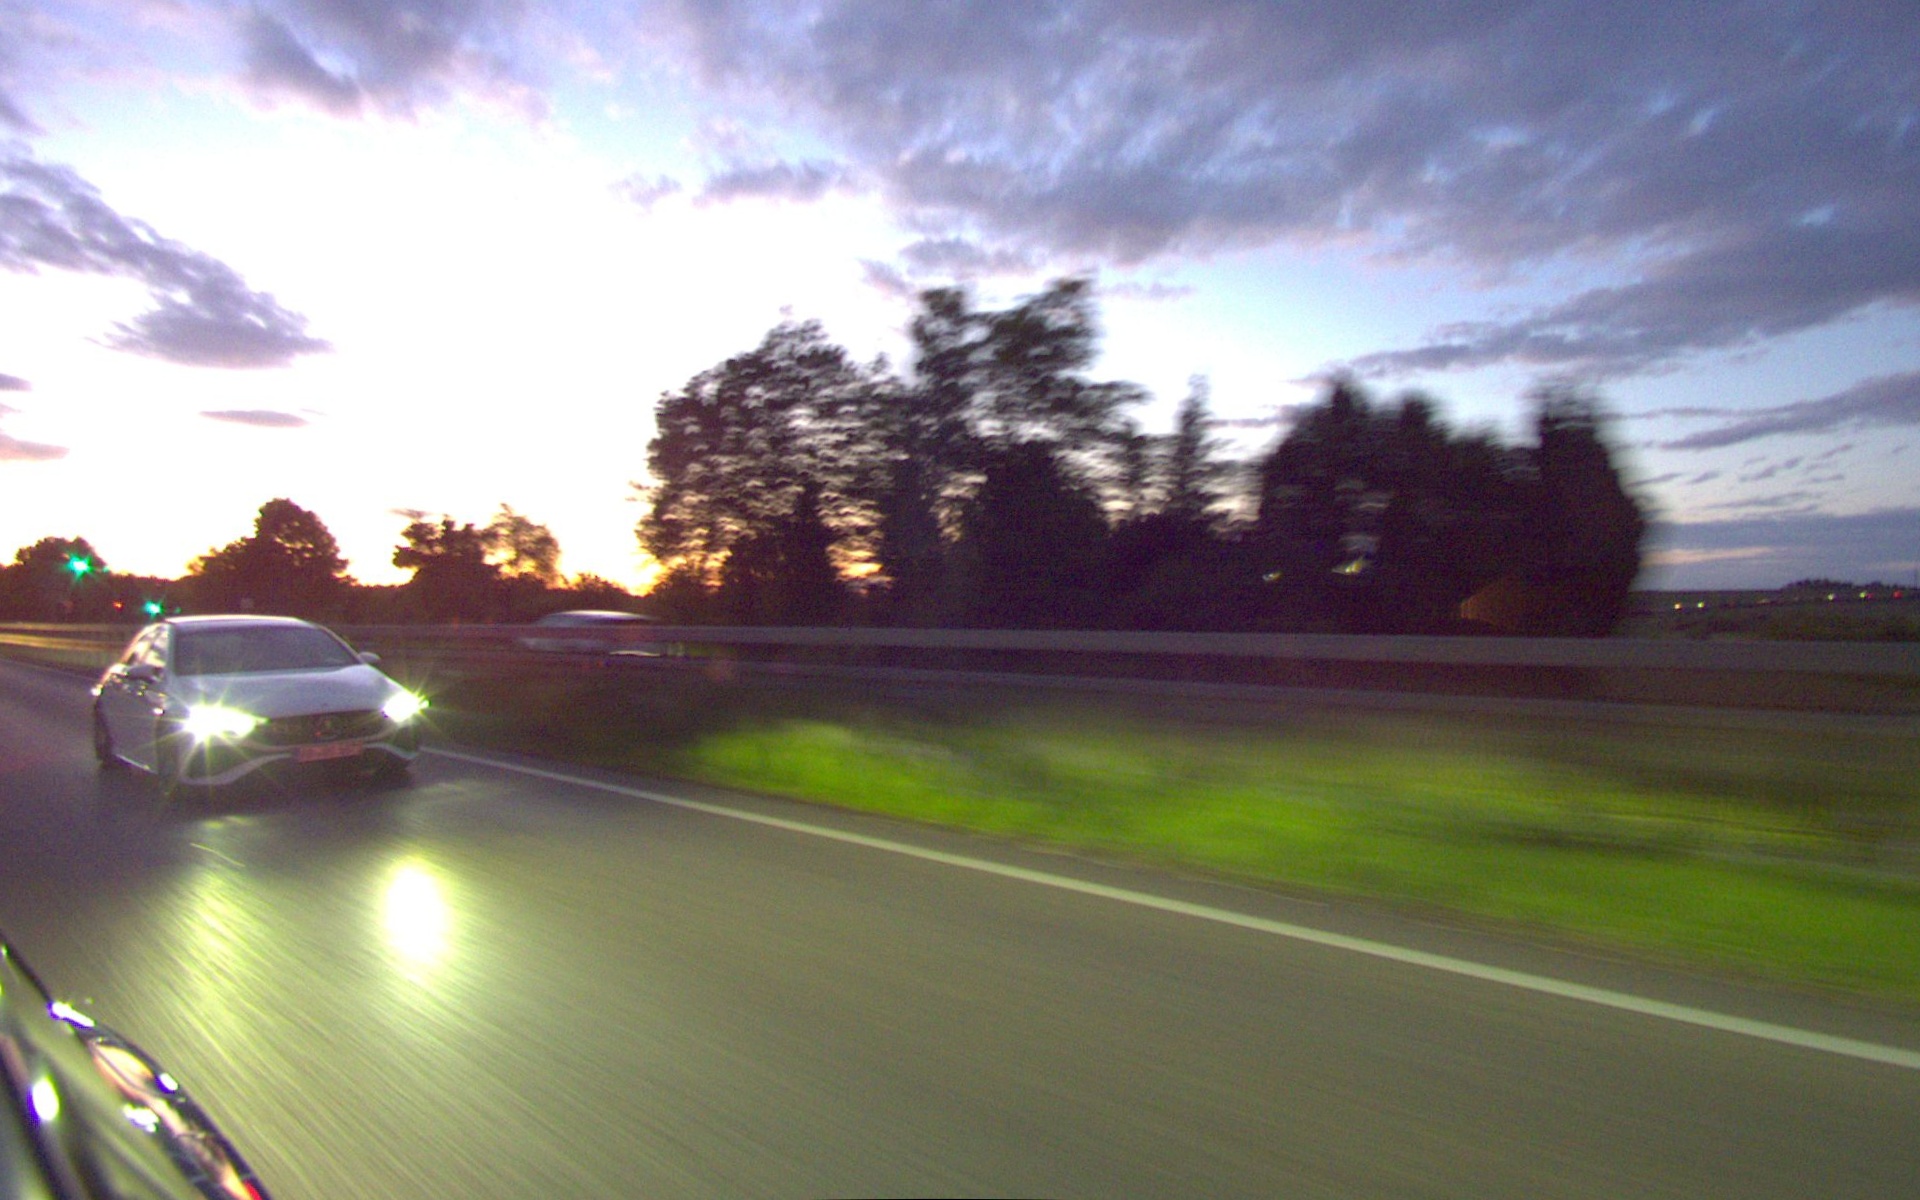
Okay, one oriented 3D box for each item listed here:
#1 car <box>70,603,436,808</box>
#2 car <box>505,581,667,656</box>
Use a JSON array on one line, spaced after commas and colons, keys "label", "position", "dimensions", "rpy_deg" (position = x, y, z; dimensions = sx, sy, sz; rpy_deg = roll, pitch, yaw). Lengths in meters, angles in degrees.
[{"label": "car", "position": [-6.751, 0.819, 9.426], "dimensions": [4.644, 1.447, 1.795], "rpy_deg": [-2, -1, 42]}, {"label": "car", "position": [-8.419, 0.392, 22.660], "dimensions": [3.997, 1.516, 1.638], "rpy_deg": [-1, 1, 40]}]
